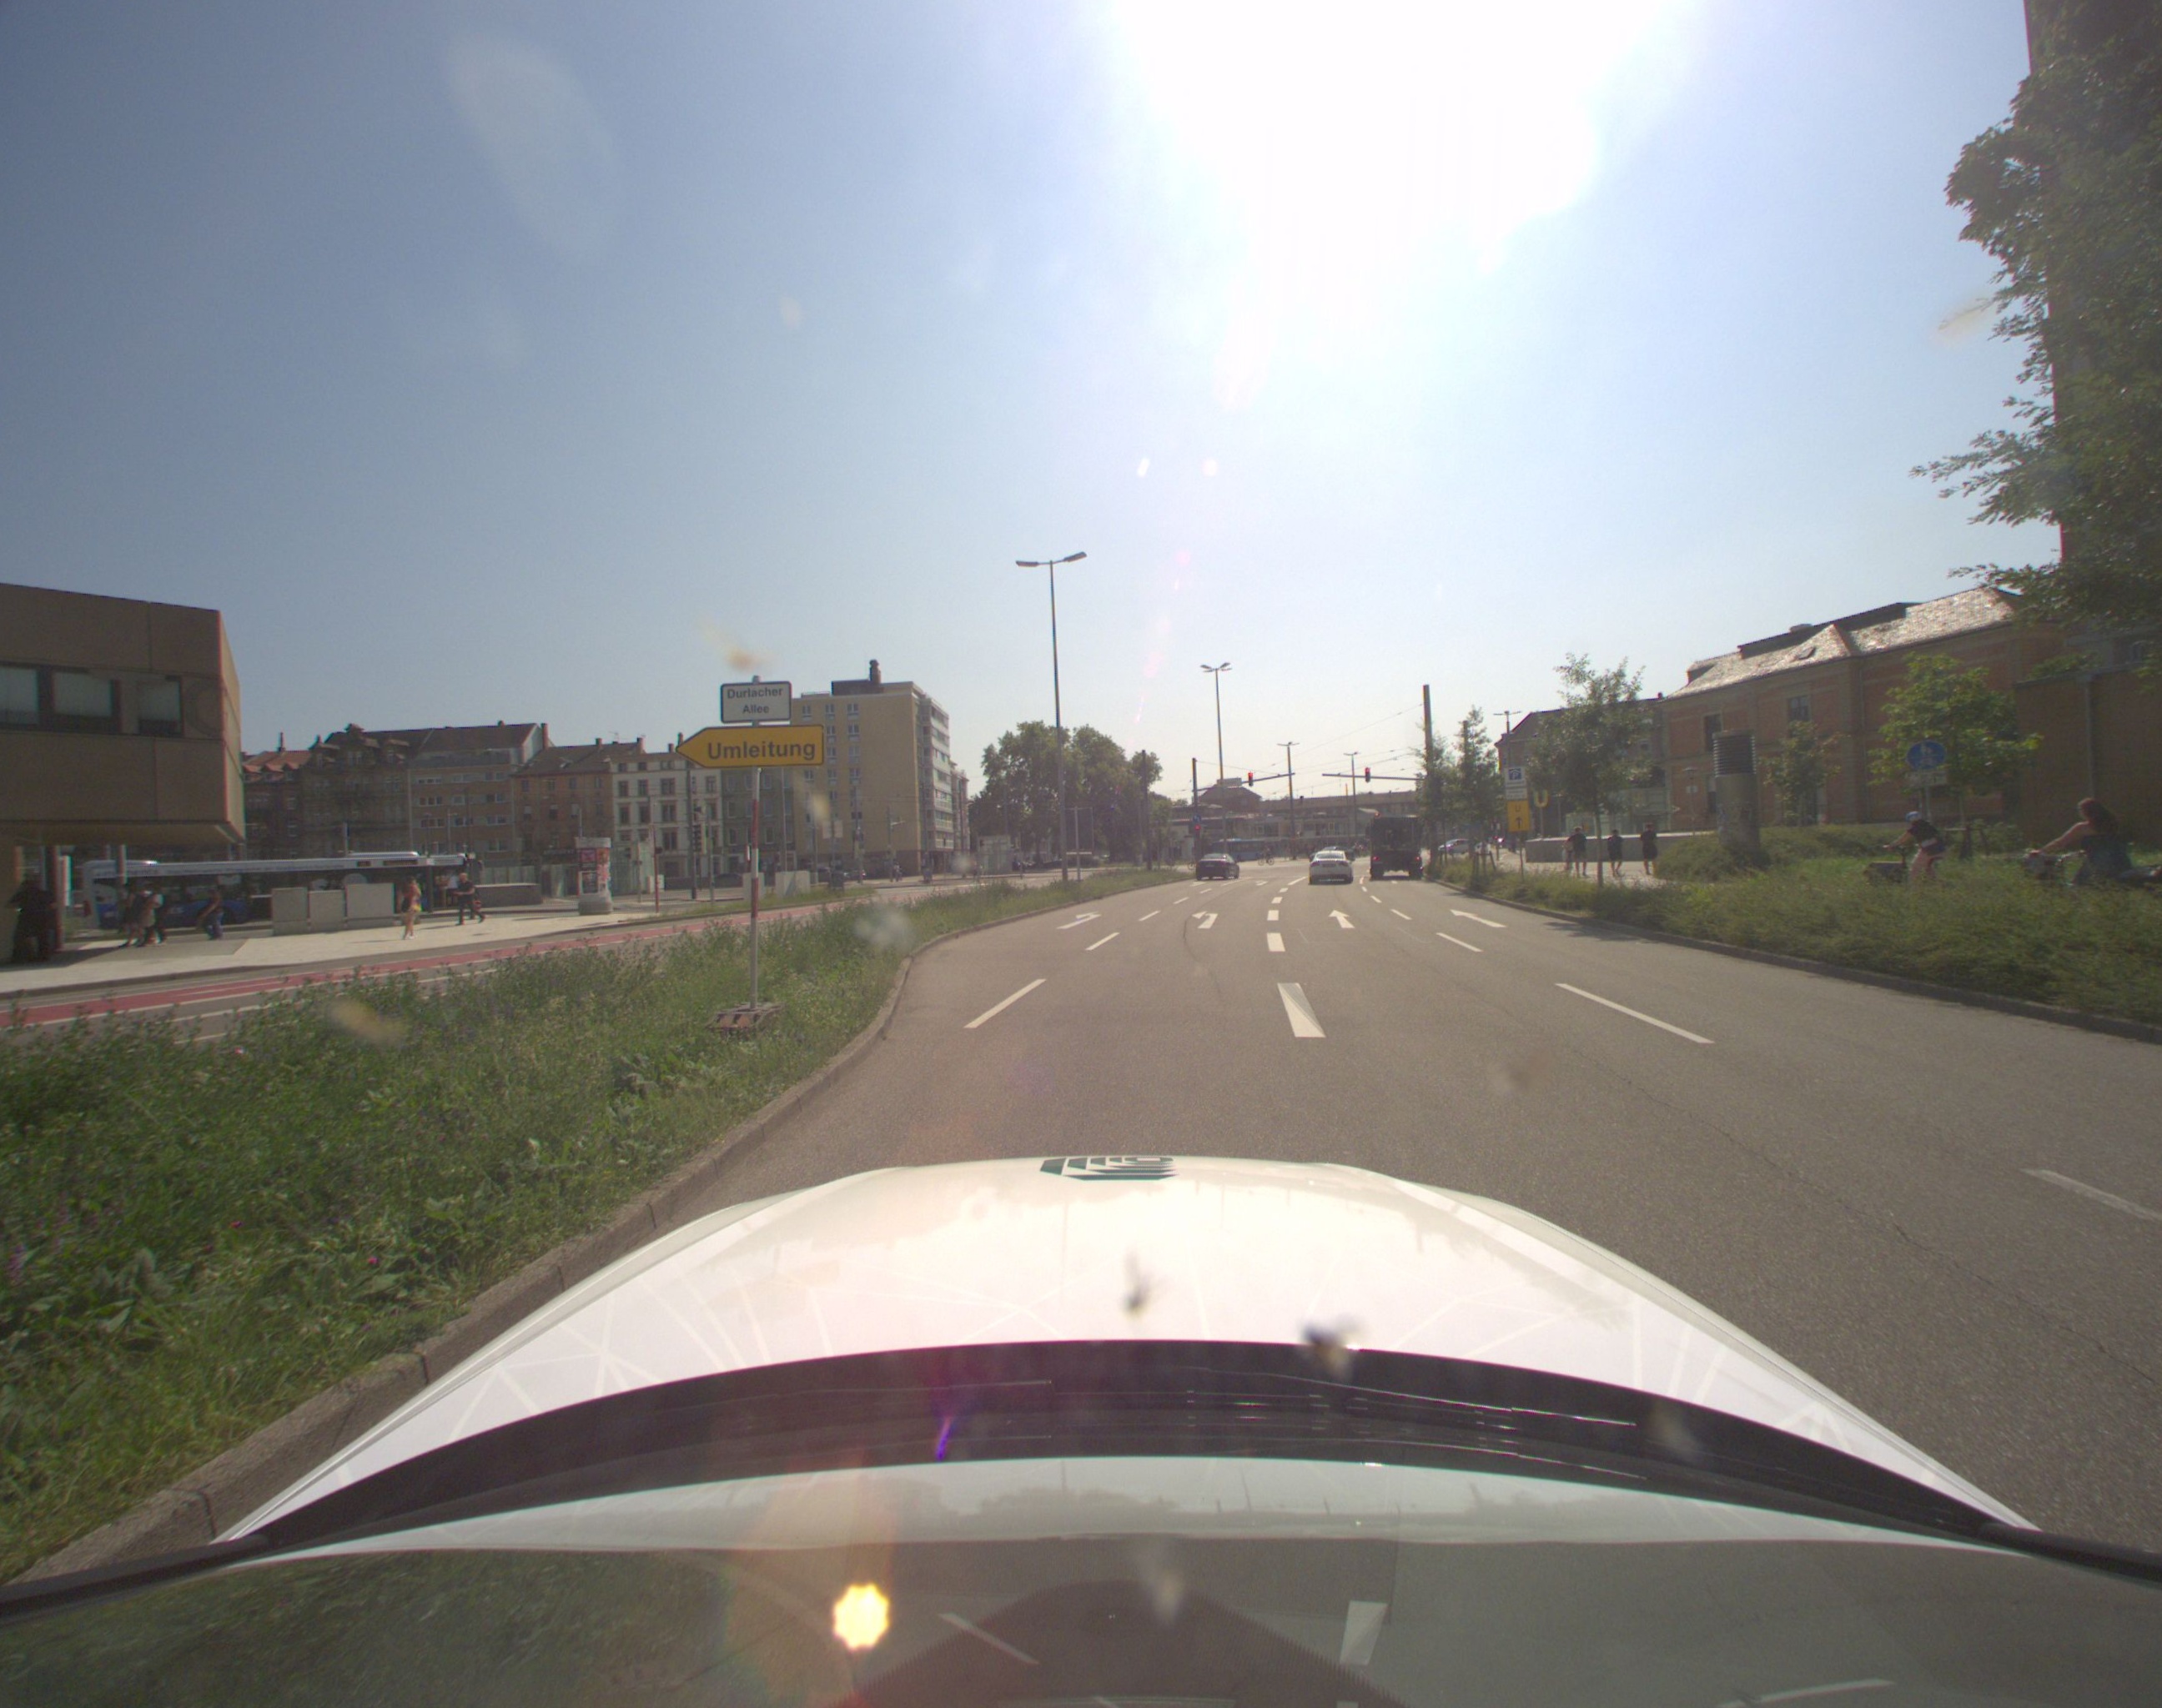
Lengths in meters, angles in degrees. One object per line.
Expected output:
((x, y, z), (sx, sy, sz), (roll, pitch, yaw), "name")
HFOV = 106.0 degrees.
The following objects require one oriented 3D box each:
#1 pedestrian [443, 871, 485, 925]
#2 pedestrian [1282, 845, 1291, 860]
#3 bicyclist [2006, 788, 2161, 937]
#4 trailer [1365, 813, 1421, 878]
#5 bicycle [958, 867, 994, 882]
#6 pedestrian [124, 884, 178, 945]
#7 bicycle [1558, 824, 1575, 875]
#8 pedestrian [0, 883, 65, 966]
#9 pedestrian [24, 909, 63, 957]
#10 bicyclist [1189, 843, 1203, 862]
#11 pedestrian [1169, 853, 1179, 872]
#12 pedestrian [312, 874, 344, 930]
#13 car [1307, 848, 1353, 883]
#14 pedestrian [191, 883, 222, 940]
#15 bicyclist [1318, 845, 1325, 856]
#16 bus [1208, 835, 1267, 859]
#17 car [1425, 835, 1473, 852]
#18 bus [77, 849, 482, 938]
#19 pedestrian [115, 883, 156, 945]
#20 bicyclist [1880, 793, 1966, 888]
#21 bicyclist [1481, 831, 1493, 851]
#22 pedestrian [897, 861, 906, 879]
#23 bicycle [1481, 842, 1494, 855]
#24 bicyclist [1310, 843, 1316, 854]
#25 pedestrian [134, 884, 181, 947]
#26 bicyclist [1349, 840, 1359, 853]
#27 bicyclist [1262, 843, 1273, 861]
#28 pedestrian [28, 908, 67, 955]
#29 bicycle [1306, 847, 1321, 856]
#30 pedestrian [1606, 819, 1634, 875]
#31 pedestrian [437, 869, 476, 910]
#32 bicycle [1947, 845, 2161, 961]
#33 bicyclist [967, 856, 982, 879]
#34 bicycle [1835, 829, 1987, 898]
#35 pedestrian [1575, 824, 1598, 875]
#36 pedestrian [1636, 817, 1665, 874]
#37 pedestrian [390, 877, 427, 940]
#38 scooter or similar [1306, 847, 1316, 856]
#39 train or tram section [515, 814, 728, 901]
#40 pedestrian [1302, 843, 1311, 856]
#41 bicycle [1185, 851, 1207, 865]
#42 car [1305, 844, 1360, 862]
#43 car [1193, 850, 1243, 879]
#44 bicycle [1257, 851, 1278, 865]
((-20.210, 1.422, 26.690), (0.640, 1.702, 0.812), (-3, -1, 11), "pedestrian")
((24.736, -0.207, 98.112), (0.776, 1.752, 0.814), (-3, 0, 34), "pedestrian")
((11.553, 0.095, 9.397), (0.686, 1.599, 0.846), (-5, -1, 7), "bicyclist")
((15.895, -0.442, 41.690), (2.442, 3.007, 6.358), (-1, 1, 20), "trailer")
((-7.536, 1.502, 58.529), (2.400, 0.953, 0.604), (-3, 0, 1), "bicycle")
((-26.675, 1.736, 23.363), (0.546, 1.669, 0.812), (-3, -1, 12), "pedestrian")
((18.098, -0.187, 30.346), (0.451, 1.860, 1.371), (-3, 0, 31), "bicycle")
((-22.235, 1.475, 17.216), (0.740, 1.688, 0.634), (-3, -1, 10), "pedestrian")
((-25.028, 1.894, 19.649), (0.534, 1.084, 0.503), (-3, -1, 45), "pedestrian")
((10.171, -0.149, 71.820), (0.973, 1.654, 0.659), (-2, 0, -14), "bicyclist")
((6.283, 0.558, 55.201), (0.593, 1.268, 0.505), (-3, 2, 0), "pedestrian")
((-24.624, 1.563, 26.625), (0.688, 1.763, 0.555), (-3, -1, 32), "pedestrian")
((11.458, 0.477, 37.322), (1.743, 1.455, 4.448), (-2, 0, 20), "car")
((-25.515, 1.659, 23.760), (0.485, 1.614, 0.574), (-3, -1, 43), "pedestrian")
((28.185, -0.401, 95.335), (0.588, 1.247, 0.510), (-3, 0, 29), "bicyclist")
((21.112, -0.977, 108.951), (3.024, 2.931, 11.929), (-3, 0, 35), "bus")
((37.315, -1.055, 82.617), (4.049, 1.425, 1.772), (-3, 0, -7), "car")
((-35.086, 1.547, 36.775), (12.556, 3.070, 3.068), (-2, 0, -44), "bus")
((-25.740, 1.622, 22.181), (0.510, 1.614, 0.488), (-2, -1, -21), "pedestrian")
((13.925, -0.218, 13.484), (0.546, 1.496, 0.804), (-2, 0, 3), "bicyclist")
((26.916, -0.865, 54.004), (0.668, 1.320, 0.687), (-3, 0, 24), "bicyclist")
((-16.837, 1.527, 76.374), (0.646, 1.633, 0.815), (-3, 0, 2), "pedestrian")
((26.982, -0.365, 54.091), (0.668, 0.776, 2.140), (-3, 0, 25), "bicycle")
((26.794, -0.663, 94.111), (0.498, 1.188, 0.510), (-3, 0, 35), "bicyclist")
((-24.477, 1.613, 21.596), (0.696, 1.614, 0.631), (-2, -1, -39), "pedestrian")
((32.110, -0.899, 95.814), (0.900, 1.501, 0.865), (-3, 0, 0), "bicyclist")
((17.331, -0.181, 75.601), (0.622, 1.650, 0.685), (-2, -1, -38), "bicyclist")
((-25.426, 1.896, 20.040), (0.534, 1.084, 0.503), (-3, -1, 45), "pedestrian")
((26.829, -0.290, 94.095), (1.575, 0.985, 0.510), (-2, 0, 35), "bicycle")
((19.534, -0.269, 29.514), (0.770, 1.973, 0.758), (-3, 0, 33), "pedestrian")
((-29.971, 1.694, 39.092), (1.318, 1.886, 1.026), (-2, -1, -43), "pedestrian")
((11.598, 0.503, 9.462), (0.690, 1.155, 2.376), (-4, 0, 7), "bicycle")
((-7.657, 0.967, 58.545), (0.836, 1.642, 0.607), (-4, -1, 1), "bicyclist")
((13.951, 0.149, 13.780), (0.554, 1.060, 2.005), (-3, 0, 3), "bicycle")
((18.675, -0.166, 30.105), (0.653, 1.860, 0.798), (-3, -1, 32), "pedestrian")
((20.480, -0.311, 29.307), (0.770, 1.973, 0.758), (-3, 0, 33), "pedestrian")
((-18.626, 1.486, 22.565), (0.630, 1.703, 0.779), (1, -2, -30), "pedestrian")
((27.904, -0.293, 98.958), (0.842, 0.974, 0.784), (-2, 0, -37), "scooter or similar")
((-22.049, 0.075, 39.501), (8.294, 3.569, 3.105), (-4, 0, -45), "train or tram section")
((27.274, -0.541, 98.488), (0.640, 1.561, 0.739), (-2, 0, -37), "pedestrian")
((10.146, 0.382, 71.998), (0.973, 1.178, 2.818), (-2, 0, -14), "bicycle")
((23.115, -0.080, 74.878), (4.565, 1.438, 1.986), (-3, 0, -20), "car")
((7.467, 0.553, 44.174), (1.742, 1.404, 4.003), (-2, 0, 23), "car")
((17.299, 0.371, 75.554), (2.054, 1.137, 0.690), (-2, 0, -39), "bicycle")
